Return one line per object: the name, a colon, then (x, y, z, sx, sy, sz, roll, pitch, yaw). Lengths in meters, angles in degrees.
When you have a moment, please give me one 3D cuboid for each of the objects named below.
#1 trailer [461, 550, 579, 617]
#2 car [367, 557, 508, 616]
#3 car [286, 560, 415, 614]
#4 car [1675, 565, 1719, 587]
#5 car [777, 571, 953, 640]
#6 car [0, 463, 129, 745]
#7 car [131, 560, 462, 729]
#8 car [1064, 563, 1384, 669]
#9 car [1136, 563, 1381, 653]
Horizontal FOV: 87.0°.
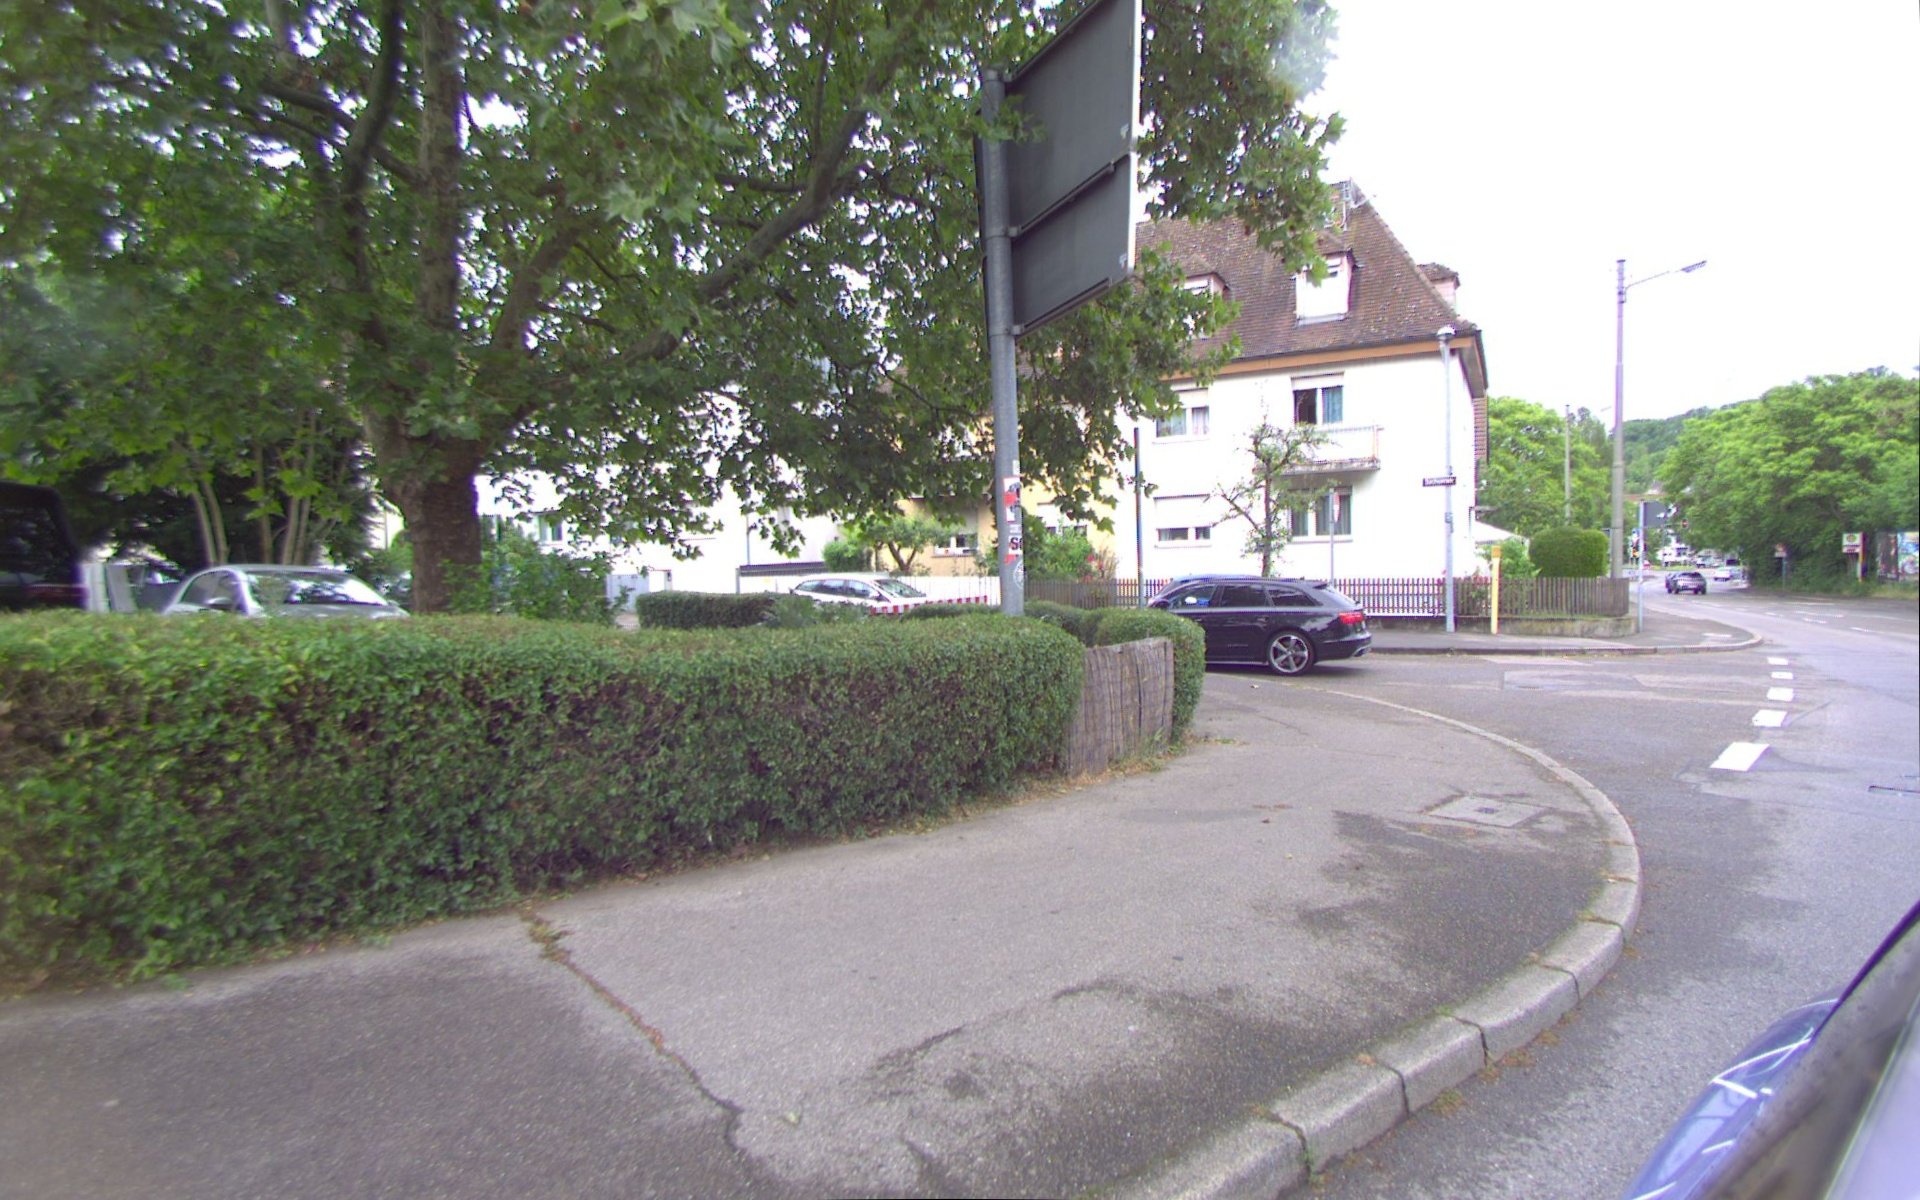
trailer: (-14.023, -0.546, 32.258, 3.456, 2.038, 1.657, 1, 1, 27)
car: (-17.603, -0.489, 34.071, 4.536, 1.862, 1.981, 1, 2, 28)
car: (-22.168, -0.504, 36.793, 4.536, 1.862, 1.981, 1, 2, 28)
car: (50.645, -1.648, 69.610, 1.884, 1.479, 3.960, 1, 2, 29)
car: (-2.194, 0.071, 23.269, 3.752, 1.471, 1.754, 1, 1, 30)
car: (-8.671, 0.005, 7.861, 4.376, 1.956, 1.980, 1, 2, 29)
car: (-7.575, 0.368, 11.456, 3.974, 1.599, 1.800, 1, 2, 35)
car: (4.250, 0.165, 16.405, 4.768, 1.498, 1.870, 1, 2, 25)
car: (5.569, 0.072, 19.007, 4.096, 1.498, 1.865, 2, 2, 32)
